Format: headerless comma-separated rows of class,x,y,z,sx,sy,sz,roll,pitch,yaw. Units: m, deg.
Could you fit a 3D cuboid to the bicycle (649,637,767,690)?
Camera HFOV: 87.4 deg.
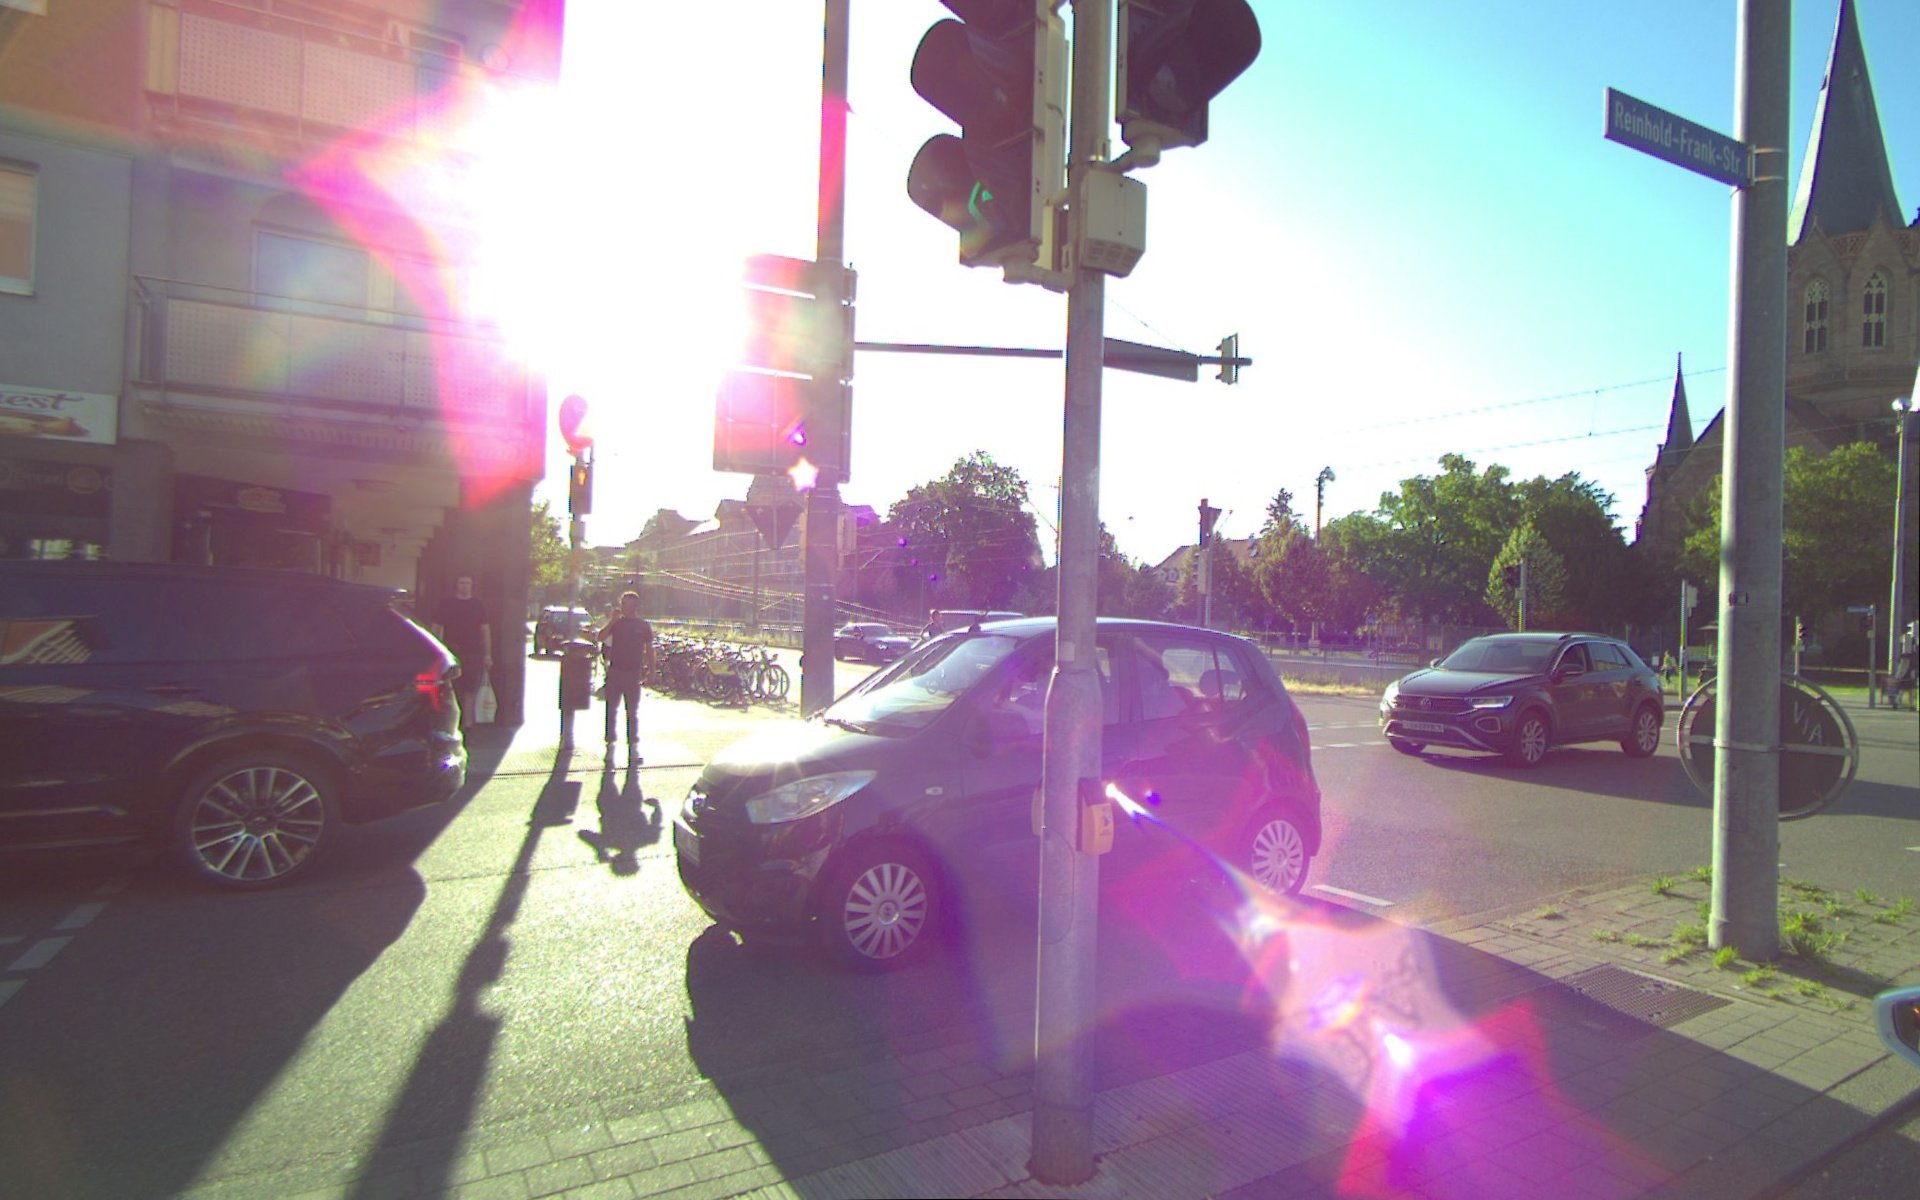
bicycle,-5.297,1.343,21.151,2.273,1.065,0.731,3,-2,-31

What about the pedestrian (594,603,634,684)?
pedestrian,-7.742,0.975,22.463,0.677,1.746,0.605,2,2,-30

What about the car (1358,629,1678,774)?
car,7.206,1.189,12.887,4.099,1.586,1.786,2,-2,-31

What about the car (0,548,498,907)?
car,-5.266,0.636,5.557,4.732,1.733,1.807,2,-3,-31

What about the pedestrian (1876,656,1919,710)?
pedestrian,31.940,2.802,34.127,0.802,1.762,0.961,3,-1,-28

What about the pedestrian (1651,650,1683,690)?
pedestrian,31.902,3.171,45.338,0.697,1.719,0.894,3,0,-9

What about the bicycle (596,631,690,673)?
bicycle,-8.521,1.400,27.027,2.273,1.065,0.731,3,-2,-31

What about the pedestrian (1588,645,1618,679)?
pedestrian,34.767,3.332,54.286,0.830,1.719,1.015,3,0,-11

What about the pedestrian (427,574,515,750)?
pedestrian,-5.535,0.678,11.357,0.802,1.900,0.605,2,2,-29

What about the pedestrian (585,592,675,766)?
pedestrian,-3.629,0.848,11.023,0.802,1.811,0.606,2,1,-26

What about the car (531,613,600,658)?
car,-14.543,1.267,36.920,1.677,1.528,3.966,3,-2,-31

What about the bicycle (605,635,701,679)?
bicycle,-7.874,1.463,25.823,2.273,1.065,0.558,3,-2,-31

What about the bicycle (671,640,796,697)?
bicycle,-4.451,1.354,19.792,2.273,1.065,0.731,3,-2,-31

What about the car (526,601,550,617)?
car,-54.484,1.151,129.640,1.981,2.040,3.960,3,-2,-36

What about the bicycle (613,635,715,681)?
bicycle,-7.264,1.430,24.723,2.273,1.065,0.731,3,-2,-31

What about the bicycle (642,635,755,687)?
bicycle,-5.703,1.346,21.966,2.273,1.065,0.731,3,-2,-31

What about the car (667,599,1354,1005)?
car,0.345,0.857,5.453,3.436,1.565,1.571,2,-3,-30

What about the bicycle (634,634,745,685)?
bicycle,-6.081,1.350,22.660,2.273,1.065,0.731,3,-2,-31

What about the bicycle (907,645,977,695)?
bicycle,-0.444,1.633,23.774,0.940,1.112,1.769,2,-2,-29

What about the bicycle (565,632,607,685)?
bicycle,-8.283,1.276,22.202,0.514,1.106,2.050,1,-2,-30

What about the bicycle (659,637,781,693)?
bicycle,-4.880,1.333,20.479,2.273,1.065,0.731,3,-2,-31

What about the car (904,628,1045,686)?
car,0.298,1.465,26.575,1.781,1.330,4.165,3,-2,-31

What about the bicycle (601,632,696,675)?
bicycle,-8.144,1.408,26.336,2.273,1.065,0.642,3,-2,-31

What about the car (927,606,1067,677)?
car,1.053,1.244,31.551,1.978,2.040,4.897,3,-2,-31

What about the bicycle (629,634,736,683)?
bicycle,-6.438,1.367,23.343,2.273,1.065,0.731,3,-2,-31

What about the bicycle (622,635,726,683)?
bicycle,-6.833,1.422,24.038,2.273,1.065,0.731,3,-2,-31

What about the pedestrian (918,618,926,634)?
pedestrian,-4.289,2.956,113.911,0.677,1.847,0.532,3,-1,-26

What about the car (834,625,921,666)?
car,-3.223,1.729,38.636,1.781,1.392,3.880,3,-2,-31

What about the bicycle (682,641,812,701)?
bicycle,-4.035,1.354,19.104,2.273,1.065,0.731,3,-1,-31

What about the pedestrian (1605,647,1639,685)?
pedestrian,31.730,3.163,48.151,0.829,1.719,1.015,3,0,-9

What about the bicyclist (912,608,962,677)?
bicyclist,-0.547,1.014,23.982,0.951,1.619,0.733,1,-2,-30

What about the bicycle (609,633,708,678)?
bicycle,-7.582,1.403,25.312,2.273,1.065,0.558,3,-2,-31
